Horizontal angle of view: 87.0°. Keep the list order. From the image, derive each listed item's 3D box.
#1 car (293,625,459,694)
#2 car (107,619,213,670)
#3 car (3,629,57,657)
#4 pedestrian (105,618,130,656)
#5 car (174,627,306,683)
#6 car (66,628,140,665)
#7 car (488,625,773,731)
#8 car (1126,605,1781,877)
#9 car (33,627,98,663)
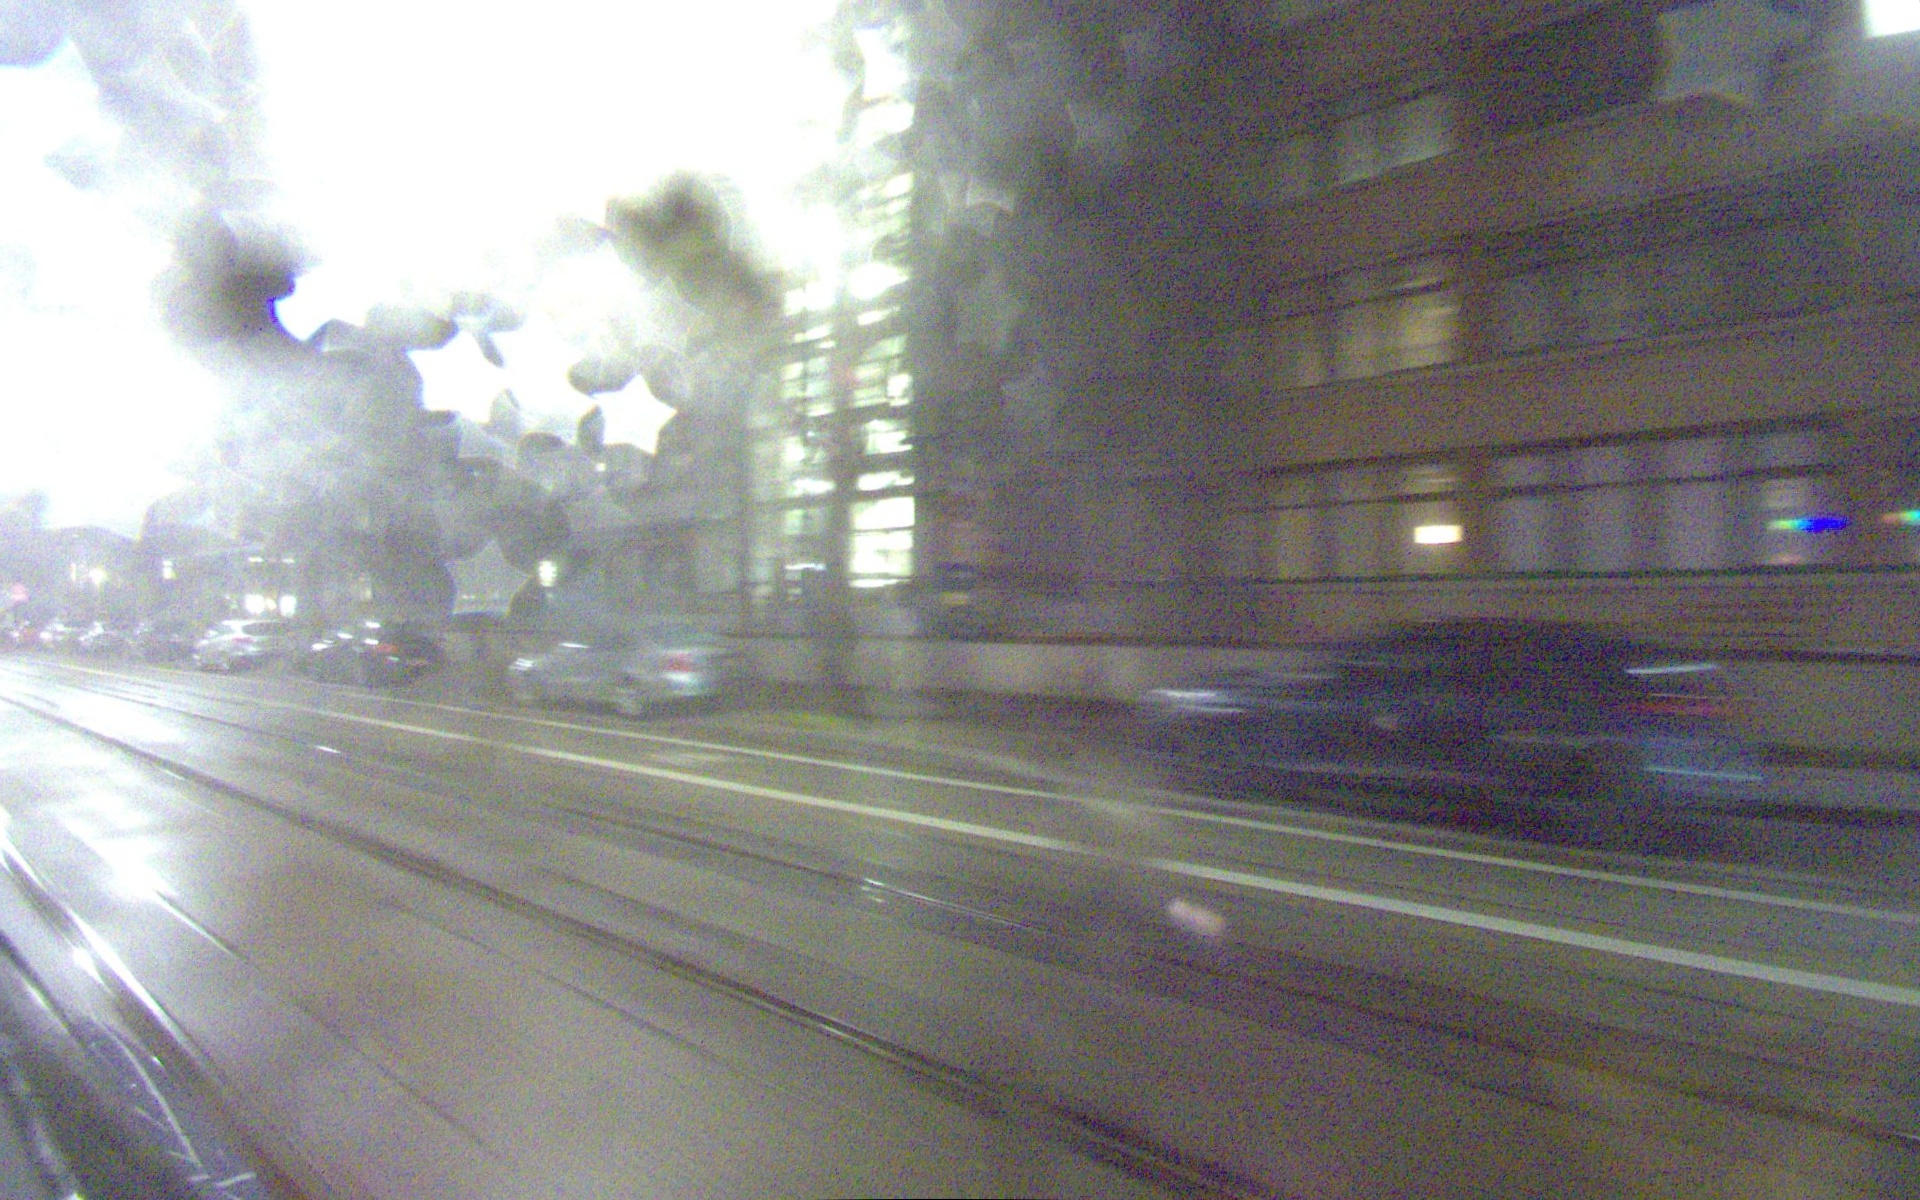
[{"bbox_3d":[-13.372,1.304,23.094,4.203,1.434,1.822,-1,-2,38],"label":"car"},{"bbox_3d":[-29.011,1.559,36.664,4.586,1.631,2.122,-1,1,40],"label":"car"},{"bbox_3d":[-50.951,2.328,55.421,3.948,1.467,1.701,-1,-1,40],"label":"car"},{"bbox_3d":[-43.119,1.872,51.790,1.290,1.916,0.784,-1,-2,41],"label":"pedestrian"},{"bbox_3d":[-20.576,1.512,28.863,4.600,1.451,1.756,-1,-2,37],"label":"car"},{"bbox_3d":[-36.176,1.934,42.678,4.623,1.449,1.713,-1,-1,41],"label":"car"},{"bbox_3d":[-5.445,1.159,16.428,4.950,1.474,1.871,-1,-2,36],"label":"car"},{"bbox_3d":[3.755,0.877,8.178,4.393,1.557,1.863,-1,2,38],"label":"car"},{"bbox_3d":[-44.086,2.202,49.856,4.350,1.590,1.791,-2,1,41],"label":"car"}]
